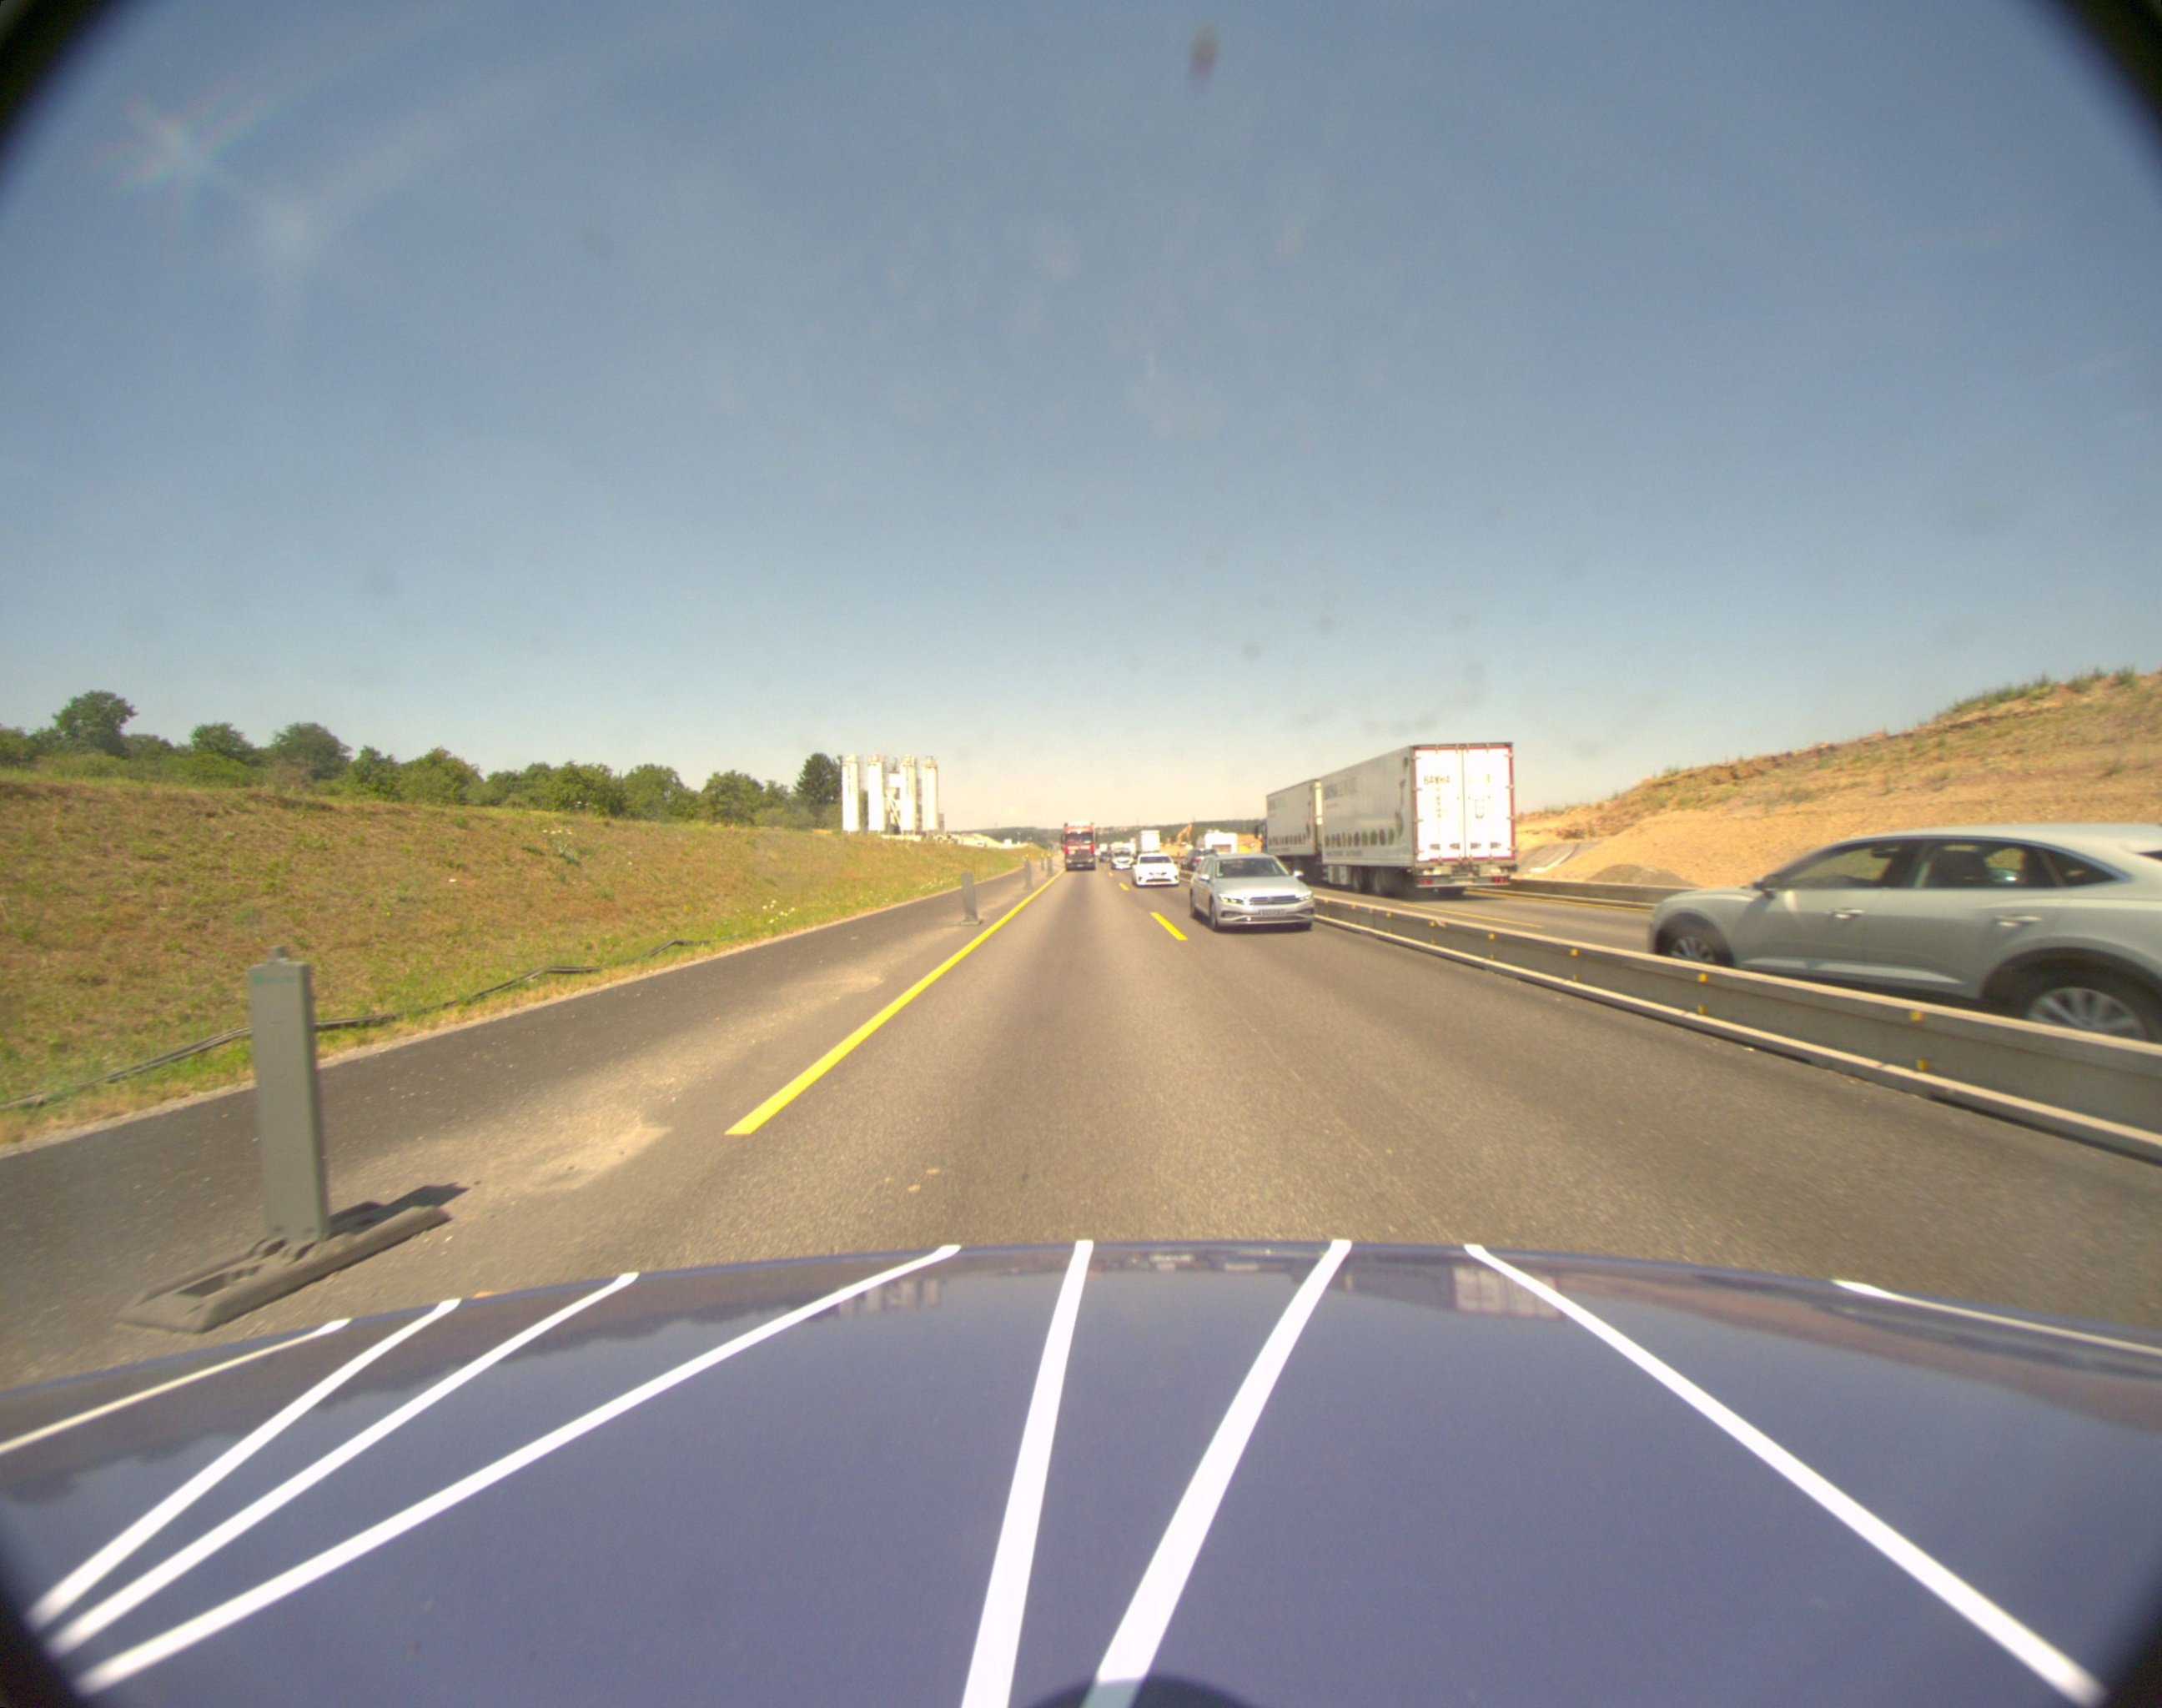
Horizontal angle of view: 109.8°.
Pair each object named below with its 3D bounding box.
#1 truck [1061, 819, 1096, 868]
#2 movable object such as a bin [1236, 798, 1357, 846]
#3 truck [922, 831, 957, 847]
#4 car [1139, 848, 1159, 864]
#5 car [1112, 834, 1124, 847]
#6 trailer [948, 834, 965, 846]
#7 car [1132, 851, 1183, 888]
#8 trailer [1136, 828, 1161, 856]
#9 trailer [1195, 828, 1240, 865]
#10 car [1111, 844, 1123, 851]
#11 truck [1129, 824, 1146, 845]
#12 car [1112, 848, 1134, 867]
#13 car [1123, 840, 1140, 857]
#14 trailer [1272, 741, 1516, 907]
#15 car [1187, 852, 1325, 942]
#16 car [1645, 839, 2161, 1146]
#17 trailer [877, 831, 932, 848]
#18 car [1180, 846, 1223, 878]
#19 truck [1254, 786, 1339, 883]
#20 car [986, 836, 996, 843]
[{"bbox_3d":[-0.116,-0.932,65.898,2.537,3.799,9.480,-2,1,1],"label":"truck"},{"bbox_3d":[34.585,-5.101,122.166,18.266,6.734,3.387,-2,2,1],"label":"movable object such as a bin"},{"bbox_3d":[-24.810,-2.623,133.308,5.317,2.530,2.897,-3,2,-36],"label":"truck"},{"bbox_3d":[7.301,0.179,81.641,1.693,1.493,3.975,-2,1,0],"label":"car"},{"bbox_3d":[11.045,-4.102,226.958,2.915,3.719,8.090,-2,0,1],"label":"car"},{"bbox_3d":[-27.080,-3.080,165.979,1.998,2.629,6.936,-2,1,4],"label":"trailer"},{"bbox_3d":[3.268,0.630,33.193,1.875,1.390,4.029,-2,1,1],"label":"car"},{"bbox_3d":[10.385,-1.840,118.098,2.861,4.070,13.649,-1,1,1],"label":"trailer"},{"bbox_3d":[10.354,-0.548,58.261,2.317,2.671,6.755,0,1,0],"label":"trailer"},{"bbox_3d":[7.499,-1.314,158.668,1.863,1.434,4.499,-3,1,-3],"label":"car"},{"bbox_3d":[10.798,-3.697,146.243,2.651,3.695,9.480,-2,1,1],"label":"truck"},{"bbox_3d":[3.454,0.250,63.133,1.601,1.390,3.695,-2,1,1],"label":"car"},{"bbox_3d":[7.568,-0.846,114.308,1.998,2.279,5.342,-2,1,0],"label":"car"},{"bbox_3d":[9.813,-0.825,26.859,2.508,4.155,15.532,0,1,1],"label":"trailer"},{"bbox_3d":[3.327,0.742,15.274,1.804,1.499,4.100,-2,0,0],"label":"car"},{"bbox_3d":[6.347,0.674,5.186,1.812,1.480,4.242,-2,1,0],"label":"car"},{"bbox_3d":[-30.523,-2.477,131.568,8.919,2.592,2.463,-2,1,-3],"label":"trailer"},{"bbox_3d":[6.764,0.395,43.015,1.693,1.604,4.592,-2,1,0],"label":"car"},{"bbox_3d":[9.993,-0.884,35.855,2.497,4.174,5.911,0,1,2],"label":"truck"},{"bbox_3d":[-22.574,-3.599,190.974,1.990,1.752,3.601,-2,1,0],"label":"car"}]
